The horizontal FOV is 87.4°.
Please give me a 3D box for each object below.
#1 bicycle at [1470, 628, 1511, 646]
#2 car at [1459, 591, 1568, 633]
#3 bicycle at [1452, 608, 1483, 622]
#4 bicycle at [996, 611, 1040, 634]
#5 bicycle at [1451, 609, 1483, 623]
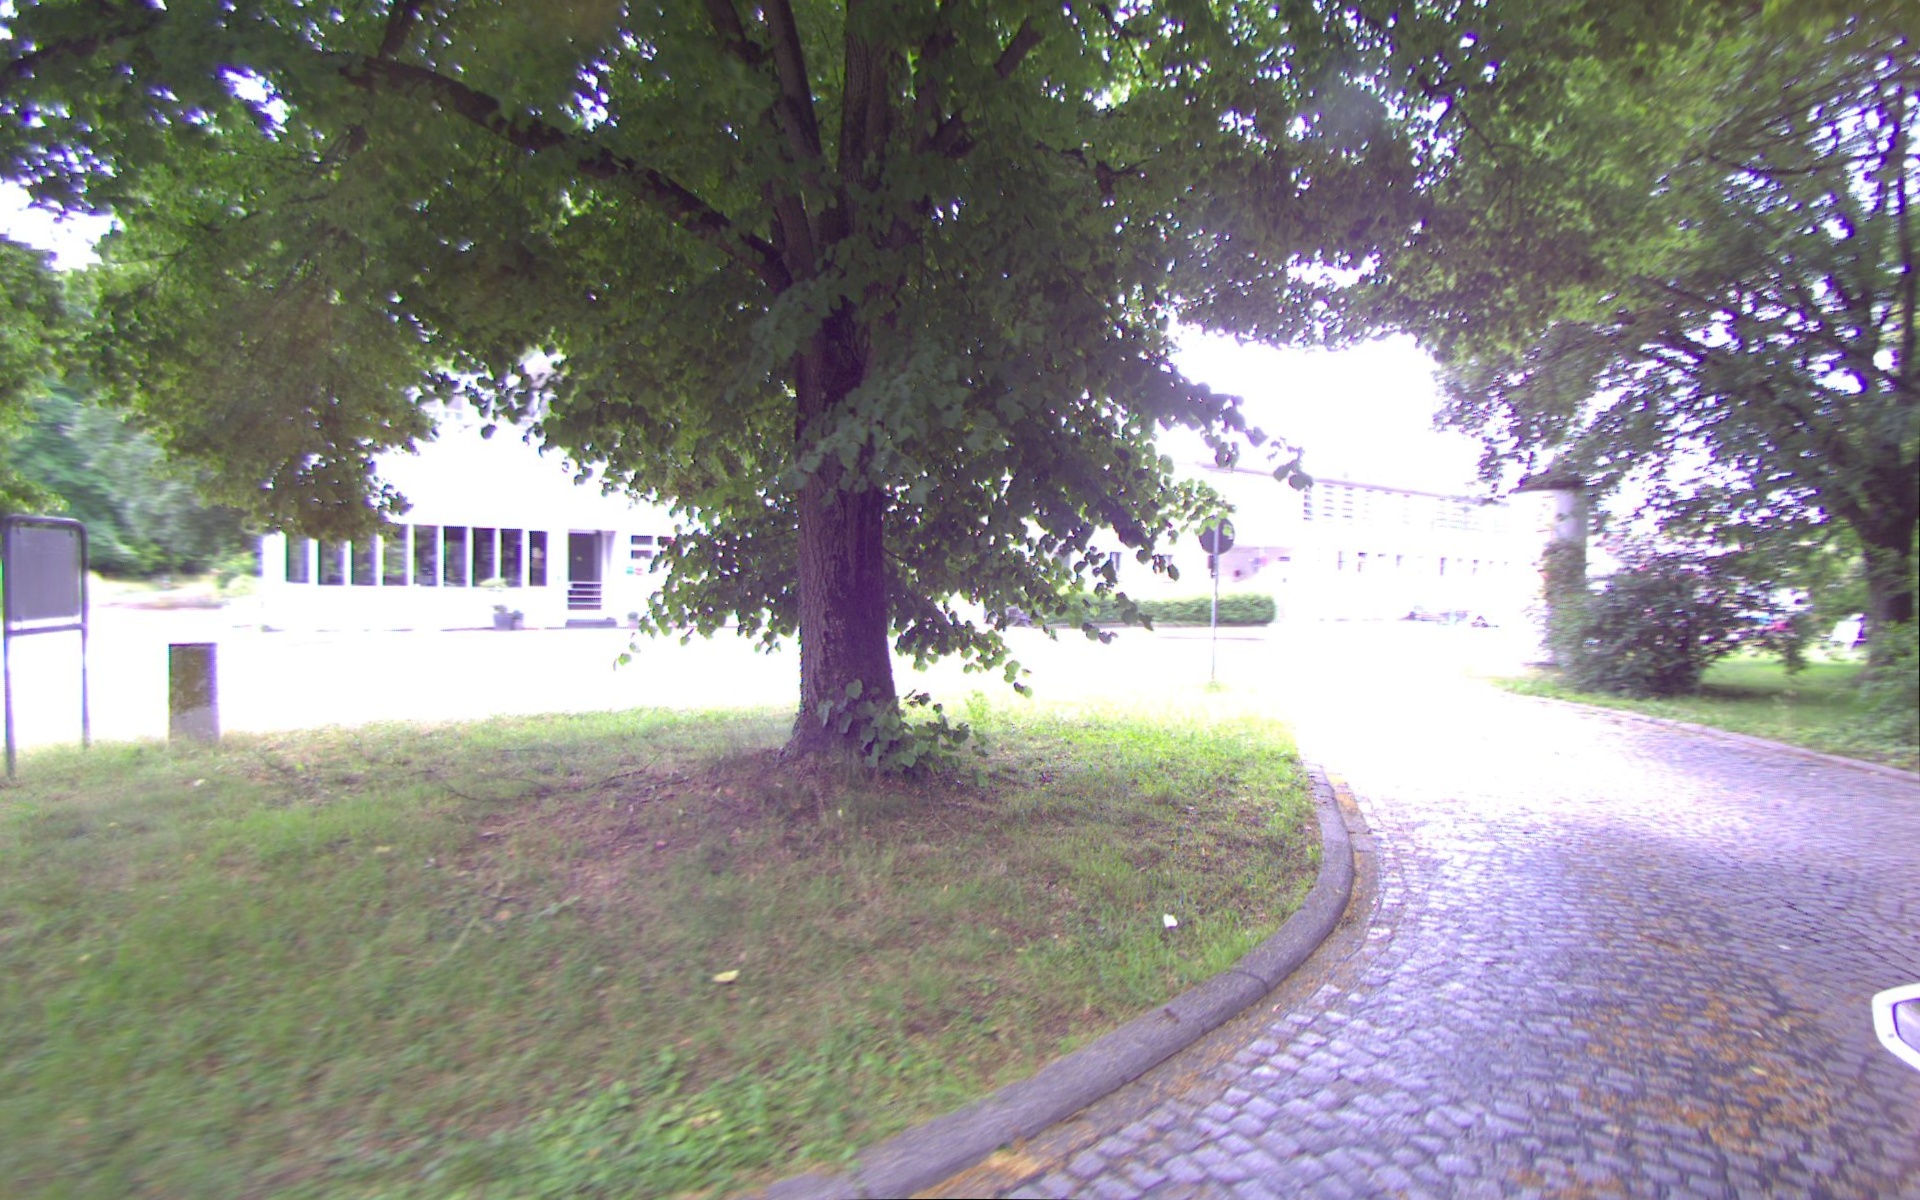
[{"bbox_3d":[25.881,1.801,49.036,0.566,0.768,1.655,0,2,-40],"label":"bicycle"},{"bbox_3d":[28.881,0.583,52.506,1.984,2.040,4.592,2,0,-40],"label":"car"},{"bbox_3d":[31.036,0.941,61.427,1.644,0.768,0.569,3,2,29],"label":"bicycle"},{"bbox_3d":[2.064,0.797,35.997,1.648,0.768,0.409,1,1,38],"label":"bicycle"},{"bbox_3d":[30.615,0.955,60.644,1.644,0.768,0.569,3,2,29],"label":"bicycle"}]
